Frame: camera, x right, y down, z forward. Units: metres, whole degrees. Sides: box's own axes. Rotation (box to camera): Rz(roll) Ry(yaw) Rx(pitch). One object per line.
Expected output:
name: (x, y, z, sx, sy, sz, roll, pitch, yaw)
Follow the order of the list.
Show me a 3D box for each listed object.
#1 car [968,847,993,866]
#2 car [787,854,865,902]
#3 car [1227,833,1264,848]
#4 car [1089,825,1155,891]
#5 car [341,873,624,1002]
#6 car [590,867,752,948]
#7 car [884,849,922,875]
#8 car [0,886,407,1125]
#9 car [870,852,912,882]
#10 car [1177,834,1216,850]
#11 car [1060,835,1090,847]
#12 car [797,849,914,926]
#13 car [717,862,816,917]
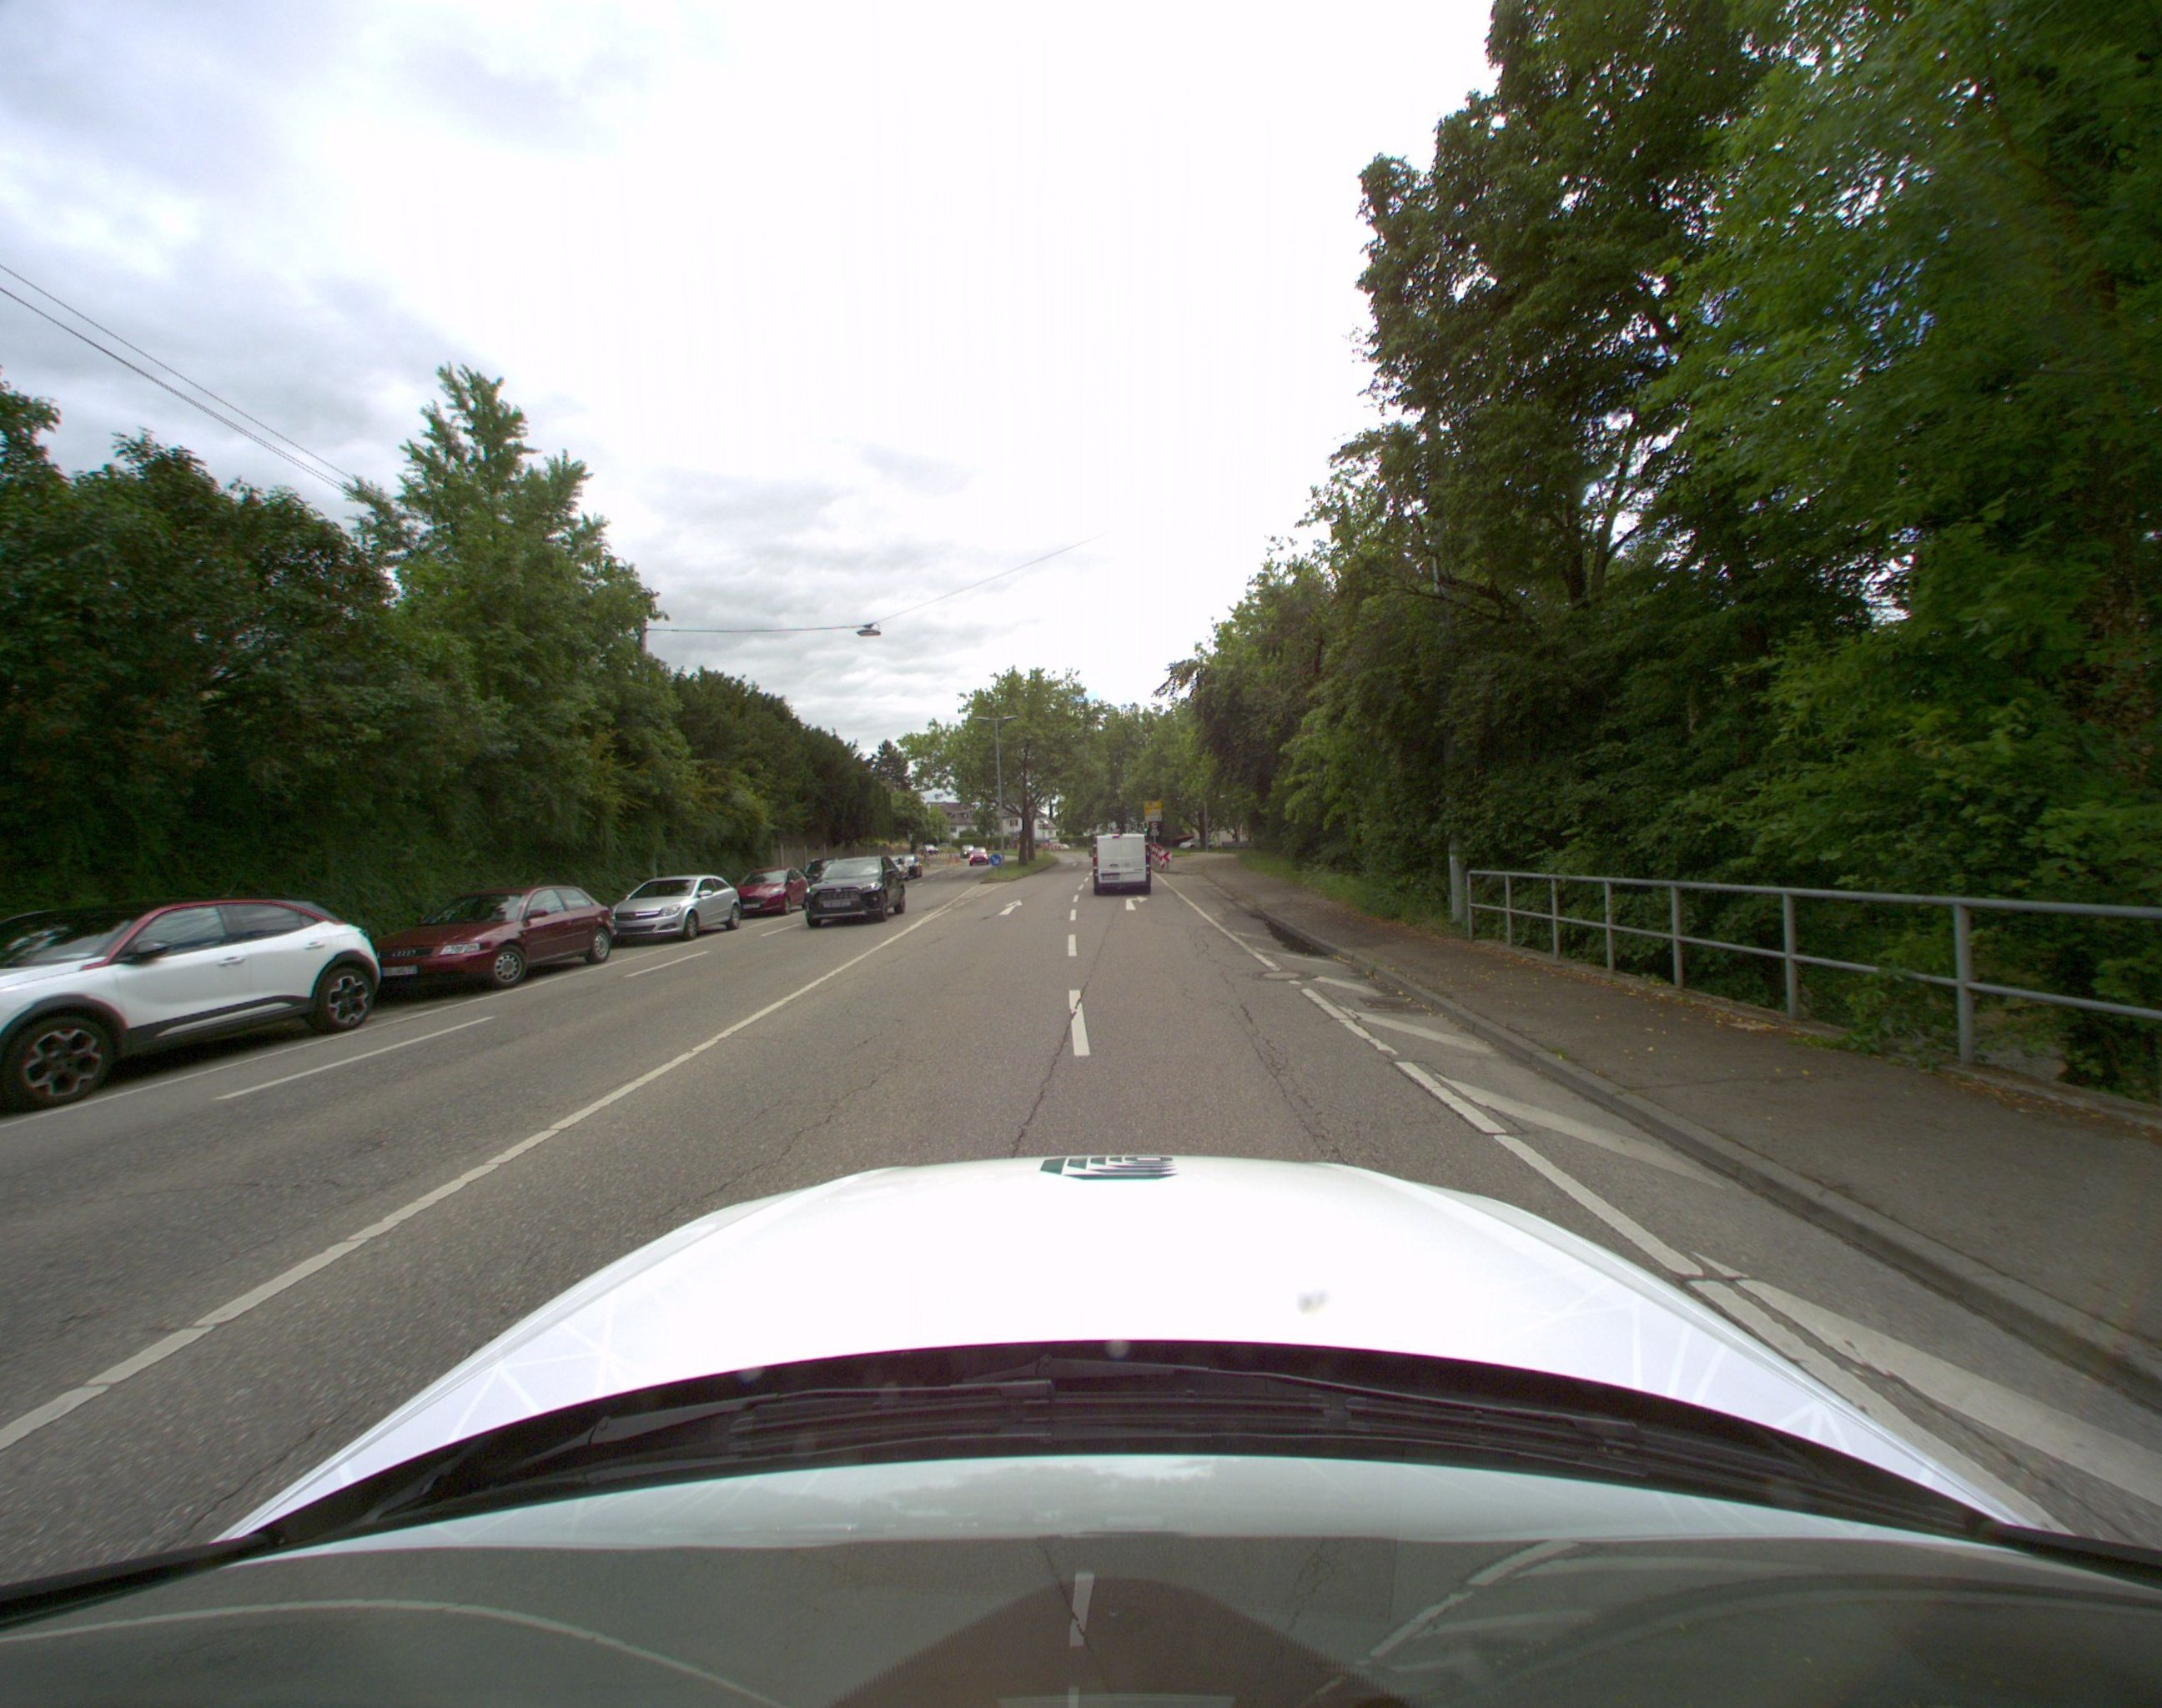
car: (-9.262, 0.200, 75.591, 1.994, 1.587, 3.992, -3, 0, -4)
car: (-10.152, 0.902, 32.729, 1.991, 1.643, 4.458, -3, 0, -5)
car: (21.787, -1.819, 107.839, 4.763, 1.769, 1.979, -3, 1, -33)
car: (1.300, 0.125, 27.914, 2.000, 2.038, 5.009, 0, 0, 0)
car: (-8.964, 1.145, 12.678, 1.667, 1.478, 3.904, -4, 0, -5)
car: (-9.330, 1.128, 18.983, 1.666, 1.488, 4.425, -4, 0, -4)
car: (-11.843, 0.517, 54.399, 1.885, 1.625, 4.422, -3, 0, -6)
car: (-8.580, 1.184, 7.274, 1.886, 1.494, 4.020, -4, 0, -5)
car: (-11.384, 0.744, 49.085, 1.669, 1.592, 4.091, -4, 1, -4)
car: (14.593, -1.543, 102.904, 4.763, 1.769, 1.979, -3, 1, -33)
car: (-1.044, -2.206, 134.856, 4.683, 1.769, 2.013, -1, 1, 35)
car: (-5.667, 0.763, 21.025, 1.837, 1.647, 4.211, -3, 1, -1)
car: (-9.814, 1.062, 25.763, 1.776, 1.438, 3.993, -3, 0, -5)
